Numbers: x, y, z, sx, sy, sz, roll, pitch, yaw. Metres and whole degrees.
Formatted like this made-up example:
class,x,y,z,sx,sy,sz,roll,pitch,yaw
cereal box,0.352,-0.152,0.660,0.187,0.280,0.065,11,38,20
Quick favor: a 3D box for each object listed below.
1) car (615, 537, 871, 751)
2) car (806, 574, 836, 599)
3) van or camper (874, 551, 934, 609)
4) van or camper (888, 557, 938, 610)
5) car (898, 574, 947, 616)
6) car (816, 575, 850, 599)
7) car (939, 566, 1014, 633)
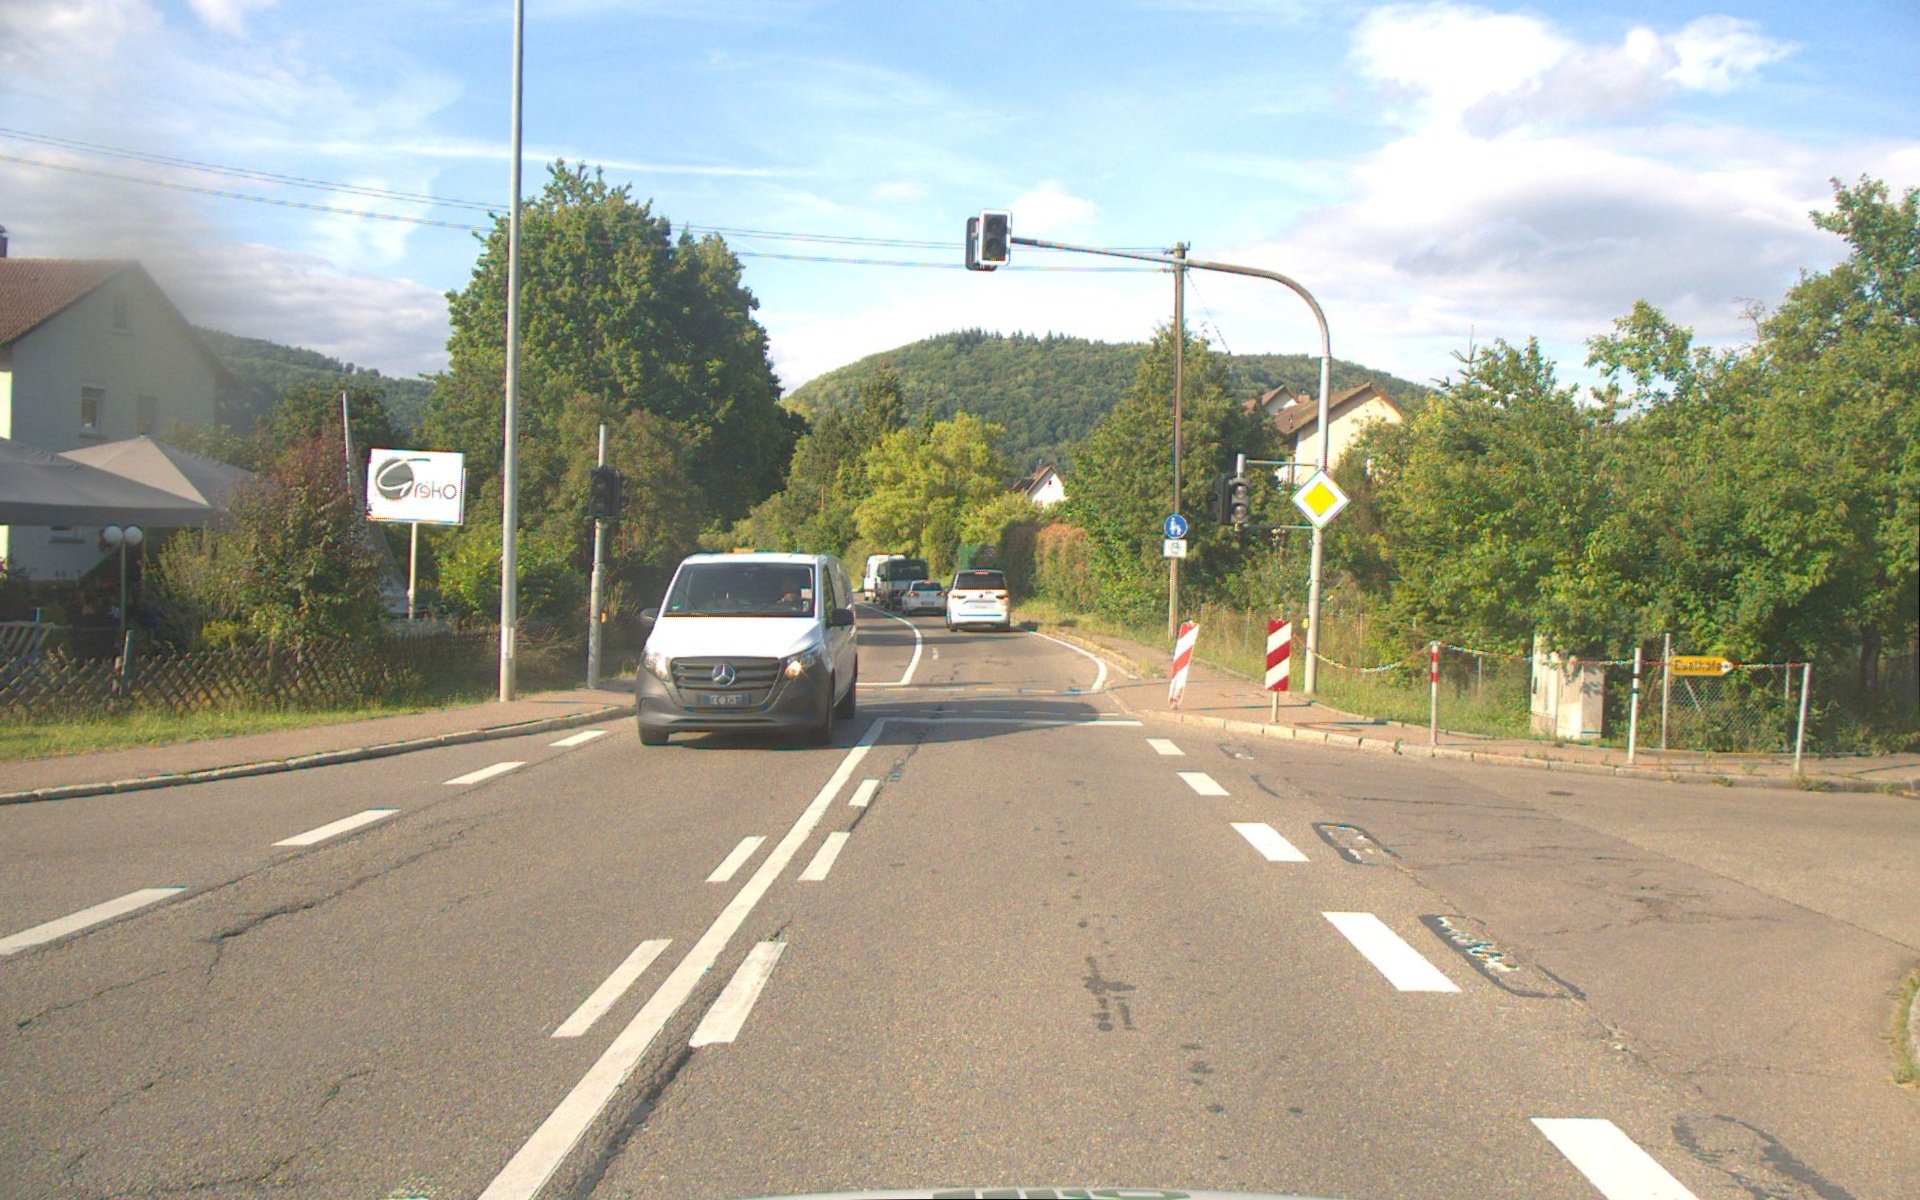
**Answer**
class,x,y,z,sx,sy,sz,roll,pitch,yaw
car,-2.135,0.354,17.792,1.952,1.937,5.254,-1,1,1
car,-10.513,-1.063,124.845,1.765,1.825,3.988,0,1,-12
van or camper,-3.040,-1.076,88.332,2.371,2.955,6.117,0,1,-10
van or camper,-2.287,-0.823,79.000,2.137,2.426,5.365,0,1,-5
car,-1.643,-0.240,70.486,1.954,1.713,3.998,0,1,-3
car,-9.008,-0.926,117.322,1.788,1.579,3.986,-1,2,-14
car,0.486,-0.068,52.919,1.954,1.909,4.868,2,1,-4
